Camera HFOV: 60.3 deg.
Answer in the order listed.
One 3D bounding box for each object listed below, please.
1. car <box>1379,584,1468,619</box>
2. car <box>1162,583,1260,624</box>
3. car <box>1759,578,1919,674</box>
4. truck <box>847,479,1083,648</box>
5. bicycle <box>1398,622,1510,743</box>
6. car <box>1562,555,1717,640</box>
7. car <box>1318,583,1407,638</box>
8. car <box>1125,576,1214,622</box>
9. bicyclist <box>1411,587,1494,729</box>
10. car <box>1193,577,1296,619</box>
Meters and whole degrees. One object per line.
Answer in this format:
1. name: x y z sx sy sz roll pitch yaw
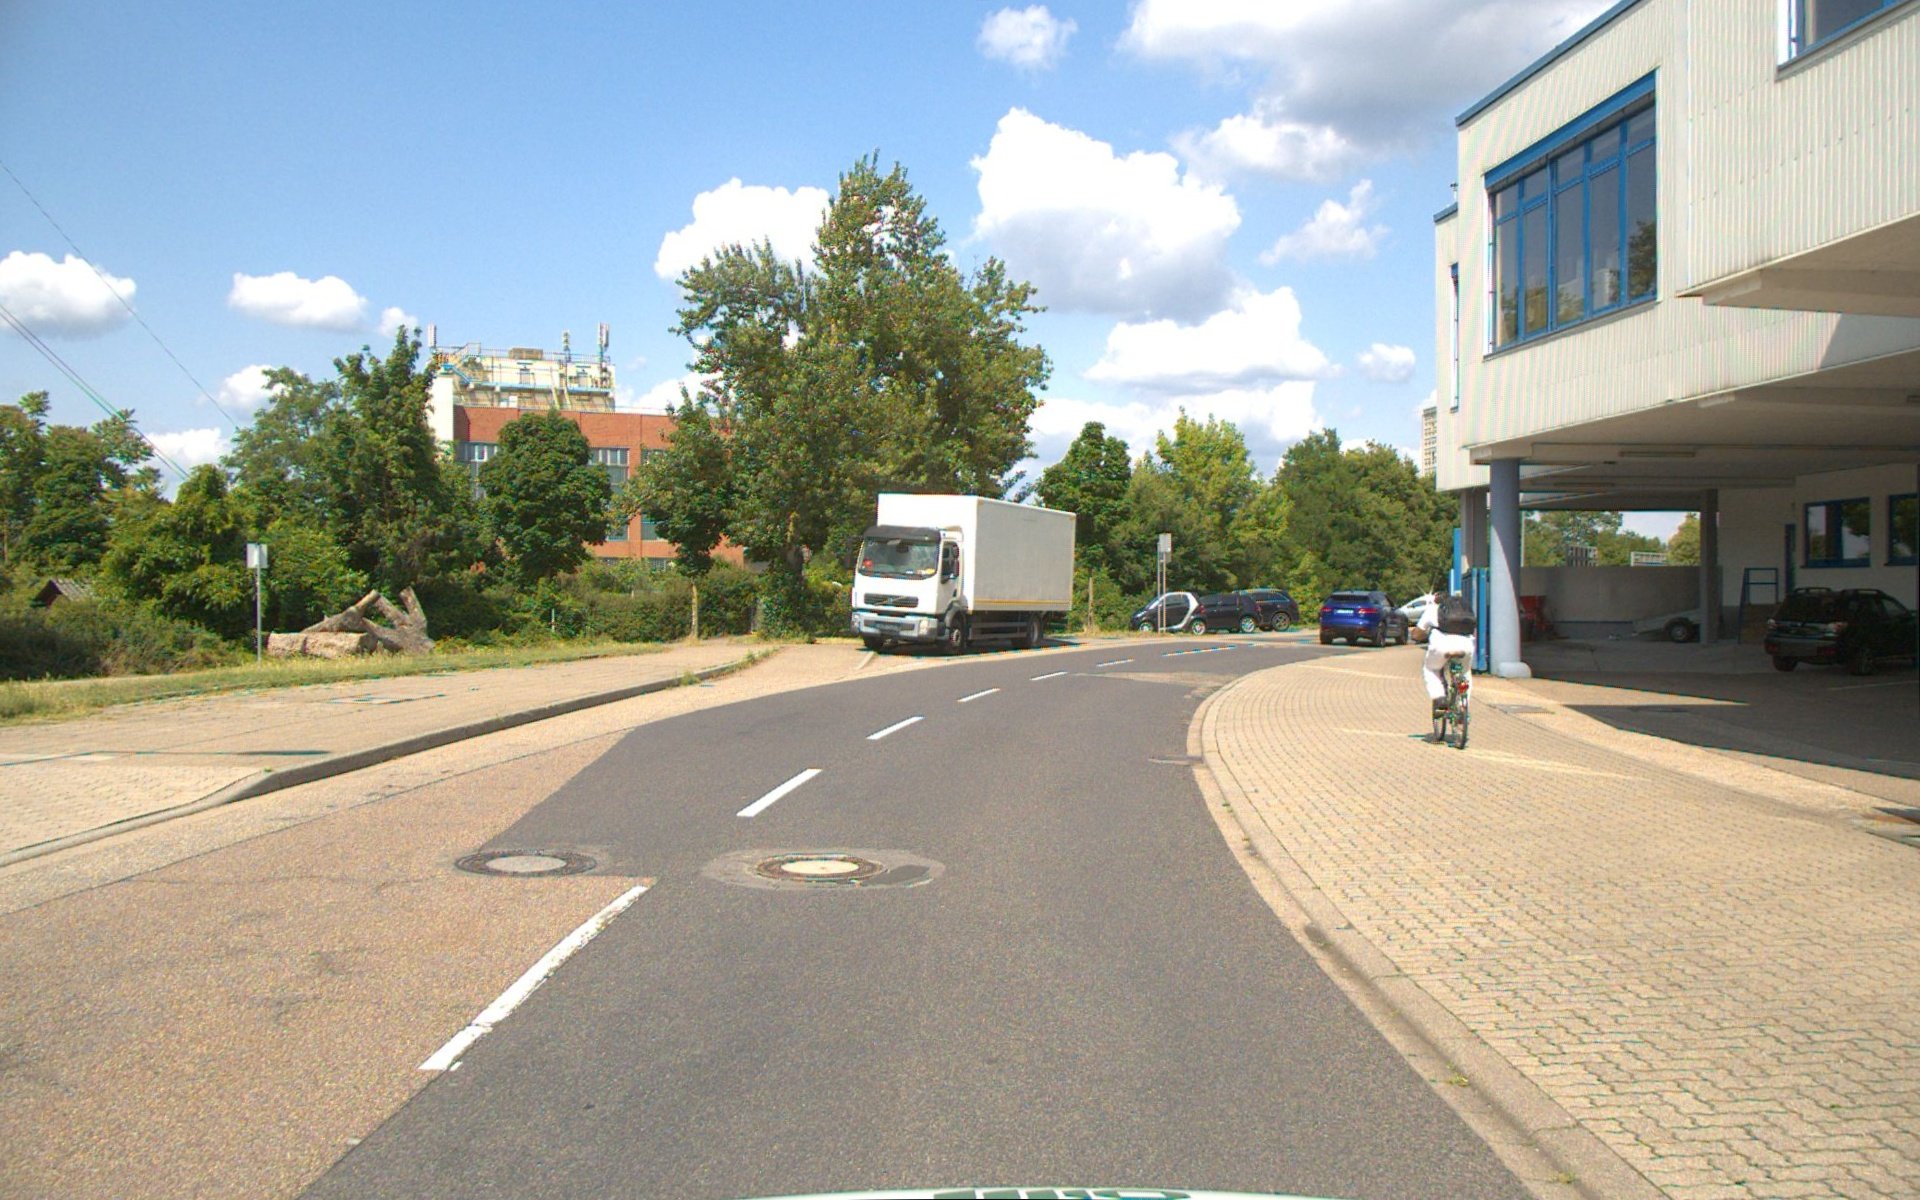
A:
1. car: 22.007 0.071 78.674 3.959 1.597 1.743 0 0 12
2. car: 9.378 0.113 61.842 3.264 1.501 1.699 0 1 -12
3. car: 17.876 0.469 33.338 3.620 1.687 1.651 -3 3 -34
4. truck: 0.398 -0.877 40.406 2.274 3.629 9.365 2 1 23
5. bicycle: 5.069 0.812 17.100 0.652 1.128 2.169 0 0 4
6. car: 17.911 -0.070 43.629 3.638 2.049 1.999 2 -1 24
7. car: 12.625 0.333 51.679 1.871 1.621 4.698 0 0 24
8. car: 7.435 -0.025 58.766 2.840 1.597 1.888 0 0 -4
9. bicyclist: 5.057 0.580 17.030 0.649 1.422 0.859 0 0 4
10. car: 11.171 -0.069 64.963 3.563 1.597 1.885 1 0 -11
